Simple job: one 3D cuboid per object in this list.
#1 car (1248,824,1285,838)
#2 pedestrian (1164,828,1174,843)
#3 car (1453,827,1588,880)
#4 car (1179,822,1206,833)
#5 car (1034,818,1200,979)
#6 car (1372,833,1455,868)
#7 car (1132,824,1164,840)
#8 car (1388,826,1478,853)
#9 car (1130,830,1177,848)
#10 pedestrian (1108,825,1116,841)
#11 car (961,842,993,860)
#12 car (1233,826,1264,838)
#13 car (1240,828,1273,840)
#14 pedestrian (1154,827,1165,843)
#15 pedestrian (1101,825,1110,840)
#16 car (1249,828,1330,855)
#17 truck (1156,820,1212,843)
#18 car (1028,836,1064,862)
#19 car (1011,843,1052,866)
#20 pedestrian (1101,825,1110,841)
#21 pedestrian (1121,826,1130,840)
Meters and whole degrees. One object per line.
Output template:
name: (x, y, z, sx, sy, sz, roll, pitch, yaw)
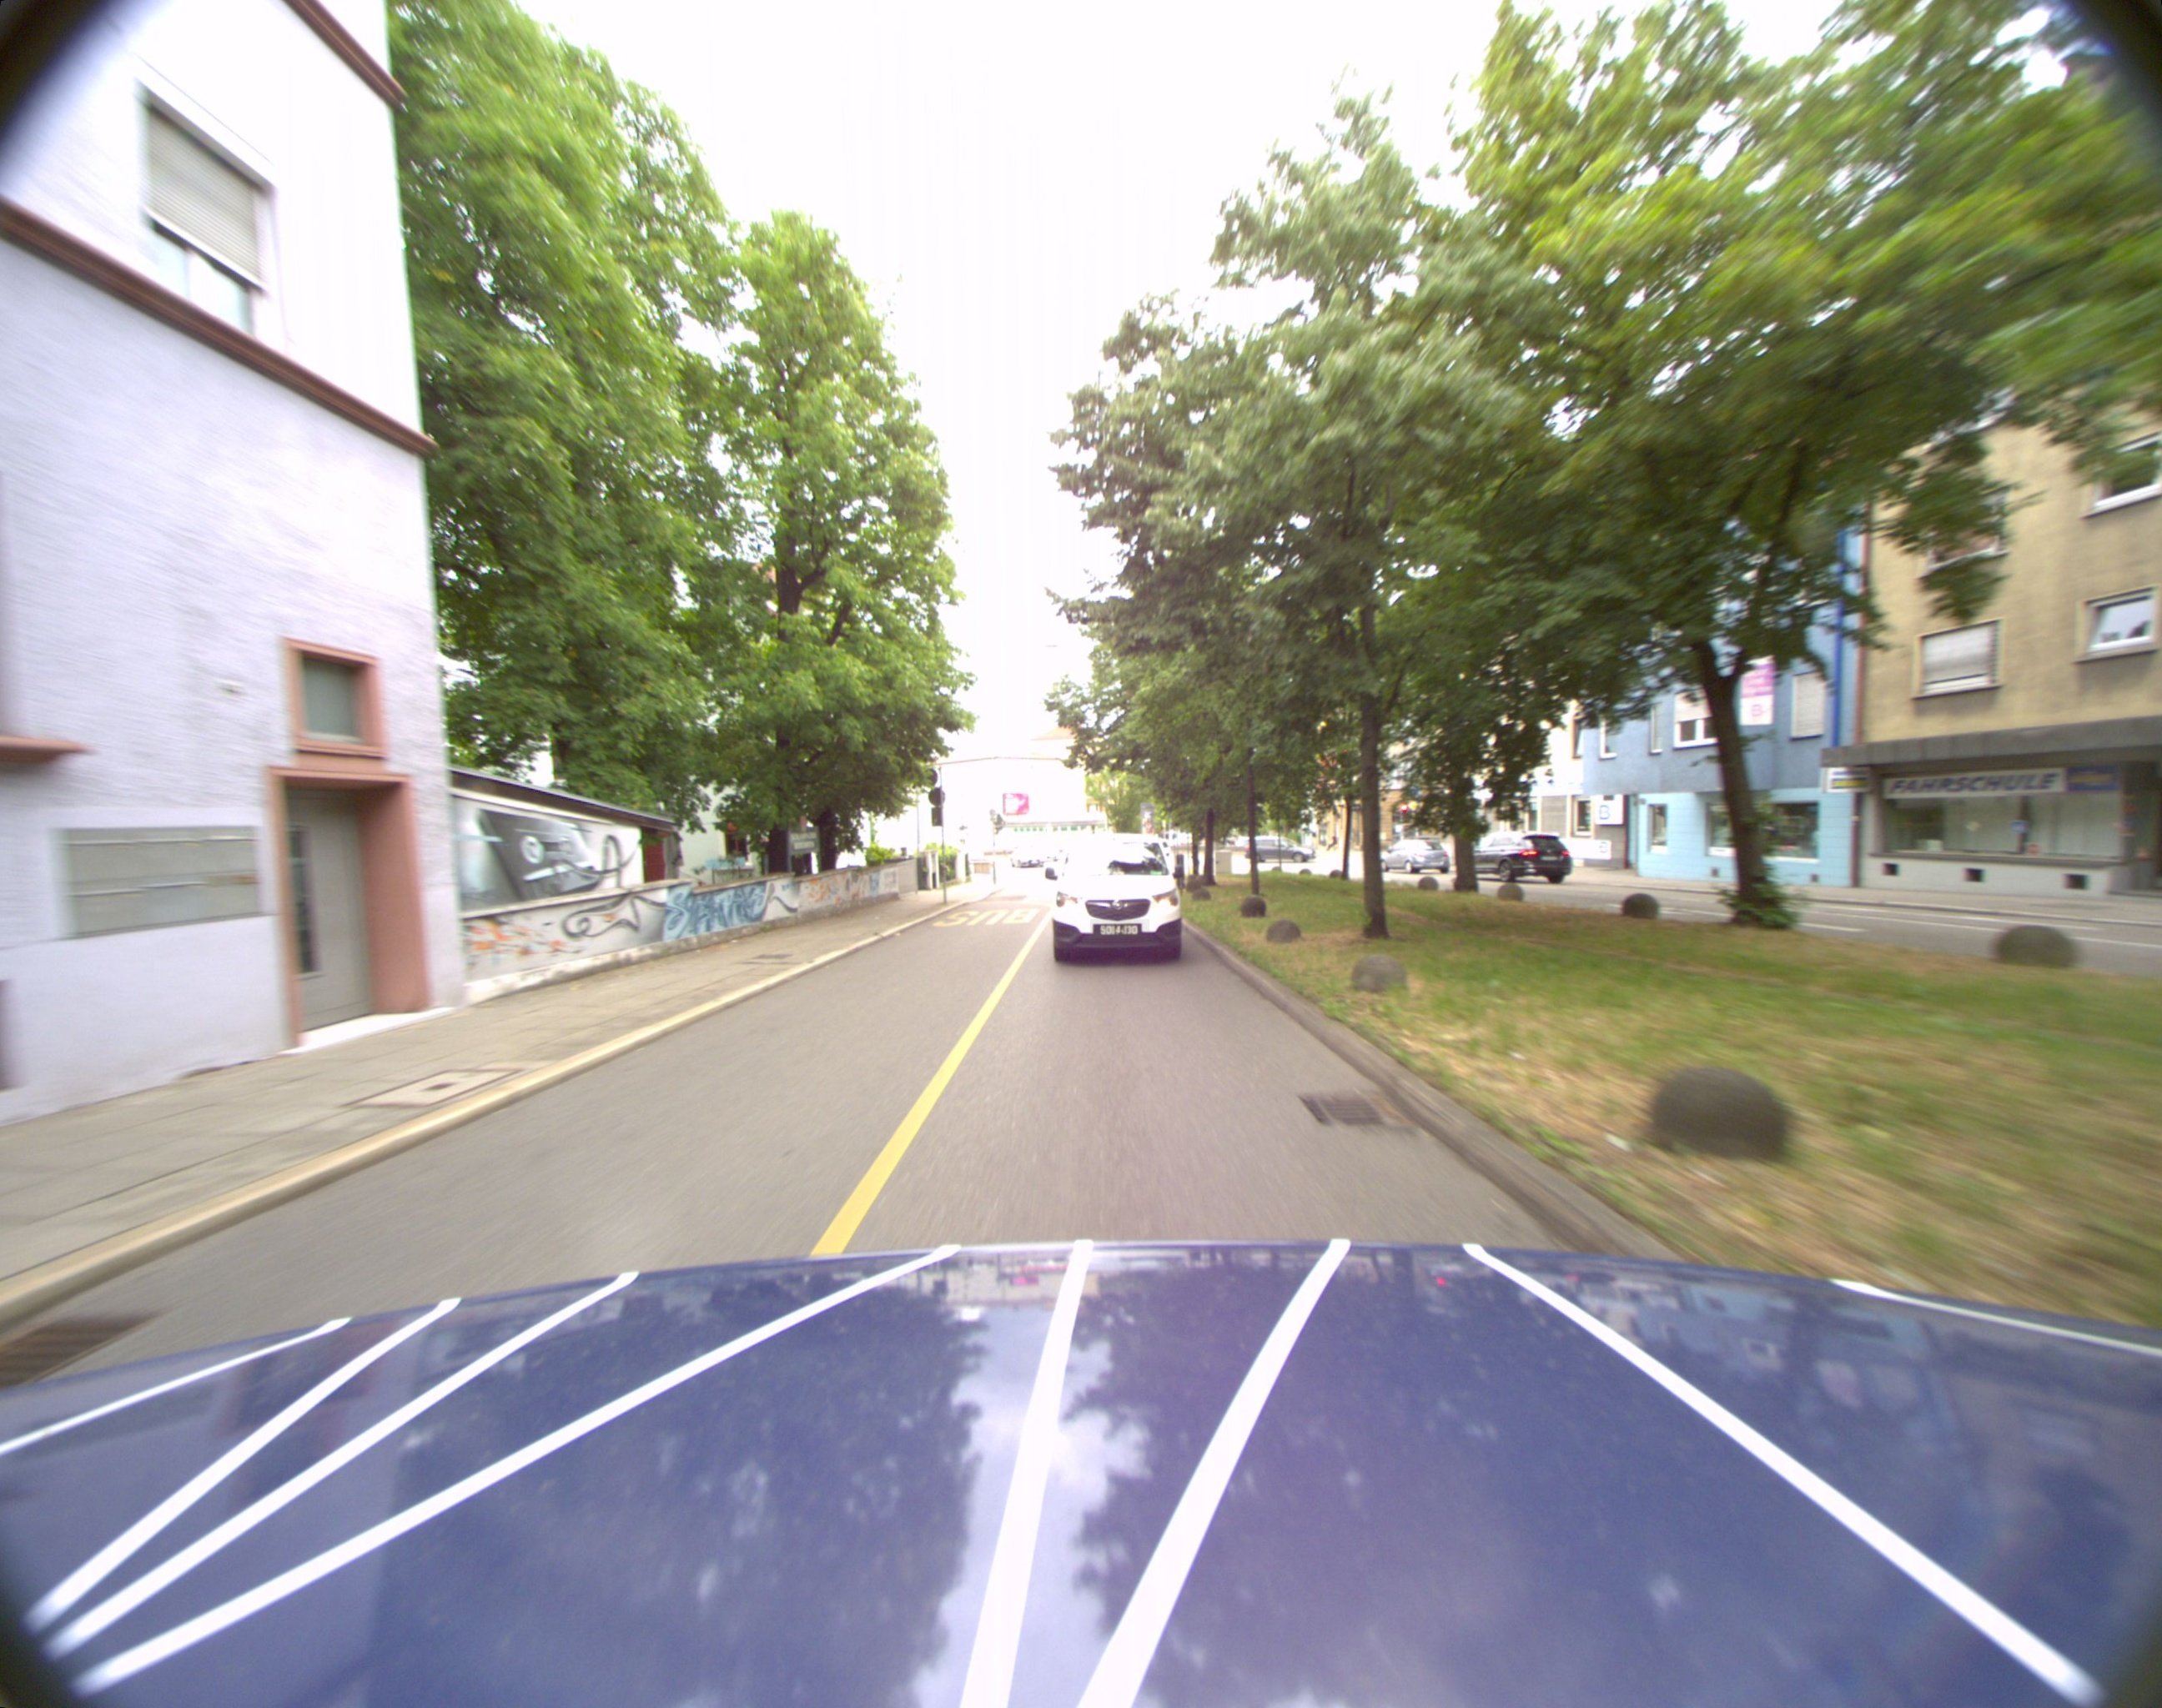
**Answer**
car: (22.737, -2.798, 93.314, 1.896, 1.590, 3.921, -6, 5, -44)
pedestrian: (8.344, -1.771, 72.173, 0.606, 1.425, 0.599, -5, 5, -33)
car: (14.781, -0.085, 25.922, 1.820, 1.628, 4.677, 0, 2, -1)
car: (18.914, -4.574, 128.951, 3.937, 1.696, 1.889, -4, 4, -23)
car: (0.531, 0.498, 11.166, 1.857, 1.798, 4.729, -2, 1, 3)
car: (14.646, -0.182, 33.729, 1.673, 1.399, 4.293, -1, 1, -2)
car: (7.591, -2.461, 85.425, 2.207, 1.563, 4.482, -1, 4, 23)
car: (21.485, -0.895, 46.532, 4.731, 1.412, 1.842, -2, 4, 11)
car: (6.281, -1.307, 65.765, 1.799, 1.423, 3.950, -5, 4, -37)
pedestrian: (3.348, -2.257, 81.796, 0.607, 1.610, 0.553, -5, 5, -35)
car: (-9.798, -0.273, 71.446, 1.956, 1.542, 4.027, -3, 1, -23)
car: (24.575, -3.205, 111.640, 3.921, 1.590, 1.896, 0, 4, 38)
car: (23.801, -2.707, 103.027, 3.921, 1.590, 1.896, 0, 4, 38)
pedestrian: (7.612, -1.835, 73.508, 0.707, 1.575, 0.801, -5, 5, -33)
pedestrian: (2.706, -2.359, 84.012, 0.773, 1.610, 0.648, -5, 5, -37)
car: (13.451, -0.825, 49.061, 4.716, 1.606, 1.861, 1, 4, 29)
truck: (12.513, -2.732, 92.236, 6.466, 2.708, 2.765, -2, 2, -33)
car: (-3.101, -0.459, 66.838, 2.001, 2.003, 4.261, -4, 4, -18)
car: (-3.789, 0.020, 57.535, 2.041, 1.542, 4.028, -3, 1, -19)
pedestrian: (2.671, -2.268, 82.474, 0.770, 1.610, 0.651, 0, 5, 32)
pedestrian: (5.307, -2.497, 91.418, 0.867, 1.610, 0.919, -1, 4, 13)
